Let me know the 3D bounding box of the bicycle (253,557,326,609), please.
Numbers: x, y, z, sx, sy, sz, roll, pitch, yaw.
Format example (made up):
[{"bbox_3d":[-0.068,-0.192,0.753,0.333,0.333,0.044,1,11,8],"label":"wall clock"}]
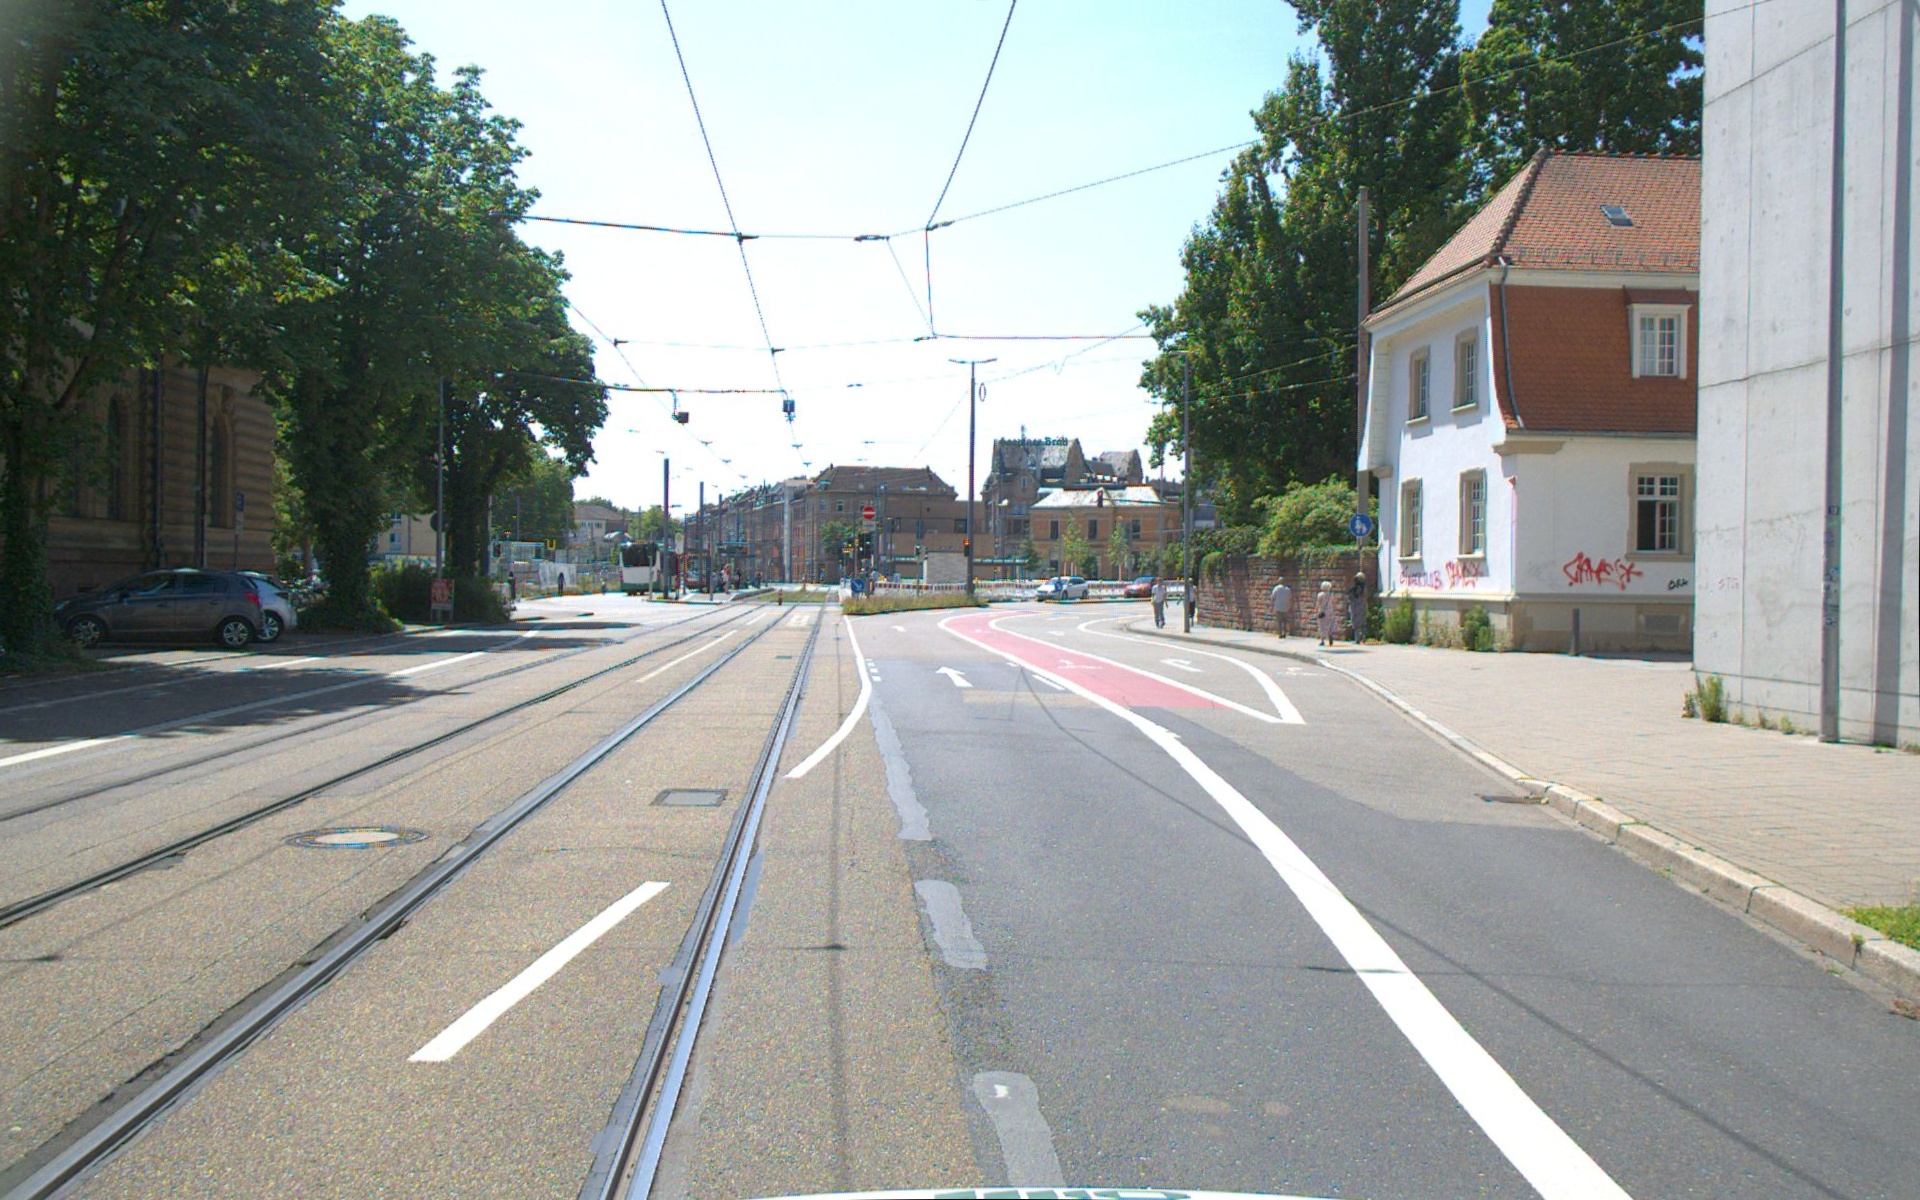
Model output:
[{"bbox_3d":[-23.482,-0.587,57.947,2.273,1.722,0.552,2,-1,1],"label":"bicycle"}]

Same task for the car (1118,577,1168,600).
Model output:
[{"bbox_3d":[12.193,-0.770,109.827,1.700,1.450,4.113,1,0,32],"label":"car"}]

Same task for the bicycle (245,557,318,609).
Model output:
[{"bbox_3d":[-23.517,-0.597,57.336,2.273,1.722,0.552,2,-1,1],"label":"bicycle"}]

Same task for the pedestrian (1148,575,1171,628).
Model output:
[{"bbox_3d":[6.976,0.037,57.904,0.663,1.839,0.748,1,0,0],"label":"pedestrian"}]

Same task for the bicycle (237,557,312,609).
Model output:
[{"bbox_3d":[-23.510,-0.580,56.721,2.273,1.722,0.552,2,-1,1],"label":"bicycle"}]

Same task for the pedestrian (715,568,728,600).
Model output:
[{"bbox_3d":[-14.226,-0.951,98.700,0.661,1.943,0.638,1,0,-14],"label":"pedestrian"}]

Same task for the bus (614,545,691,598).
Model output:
[{"bbox_3d":[-20.318,-1.868,110.291,2.951,3.213,17.485,1,1,-4],"label":"bus"}]

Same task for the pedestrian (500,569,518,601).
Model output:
[{"bbox_3d":[-23.074,-0.758,84.646,0.593,1.630,0.826,1,0,6],"label":"pedestrian"}]

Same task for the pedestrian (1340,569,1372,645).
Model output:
[{"bbox_3d":[9.728,0.165,40.634,0.614,1.804,0.719,-2,1,5],"label":"pedestrian"}]

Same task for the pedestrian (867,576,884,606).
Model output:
[{"bbox_3d":[-5.581,-0.596,109.200,0.718,1.897,0.761,1,-1,45],"label":"pedestrian"}]

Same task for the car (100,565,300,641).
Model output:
[{"bbox_3d":[-15.530,0.060,33.845,3.505,1.430,1.683,2,0,-33],"label":"car"}]

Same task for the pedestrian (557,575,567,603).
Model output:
[{"bbox_3d":[-24.499,-0.672,101.830,0.556,1.735,0.396,1,0,-12],"label":"pedestrian"}]

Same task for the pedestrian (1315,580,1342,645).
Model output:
[{"bbox_3d":[8.948,0.289,40.200,0.505,1.559,0.597,1,0,1],"label":"pedestrian"}]

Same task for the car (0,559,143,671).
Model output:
[{"bbox_3d":[-12.627,0.165,21.093,3.880,1.398,1.653,1,1,-30],"label":"car"}]

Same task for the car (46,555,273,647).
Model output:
[{"bbox_3d":[-15.005,0.034,31.033,3.630,1.546,1.651,3,-1,-33],"label":"car"}]

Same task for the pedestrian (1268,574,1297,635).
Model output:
[{"bbox_3d":[8.962,0.111,45.980,0.647,1.676,0.624,1,0,1],"label":"pedestrian"}]

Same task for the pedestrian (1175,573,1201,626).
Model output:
[{"bbox_3d":[7.997,-0.034,58.100,0.797,1.839,0.700,1,0,0],"label":"pedestrian"}]

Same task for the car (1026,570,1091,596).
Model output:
[{"bbox_3d":[5.967,-1.024,99.492,1.957,1.463,4.695,1,0,30],"label":"car"}]
